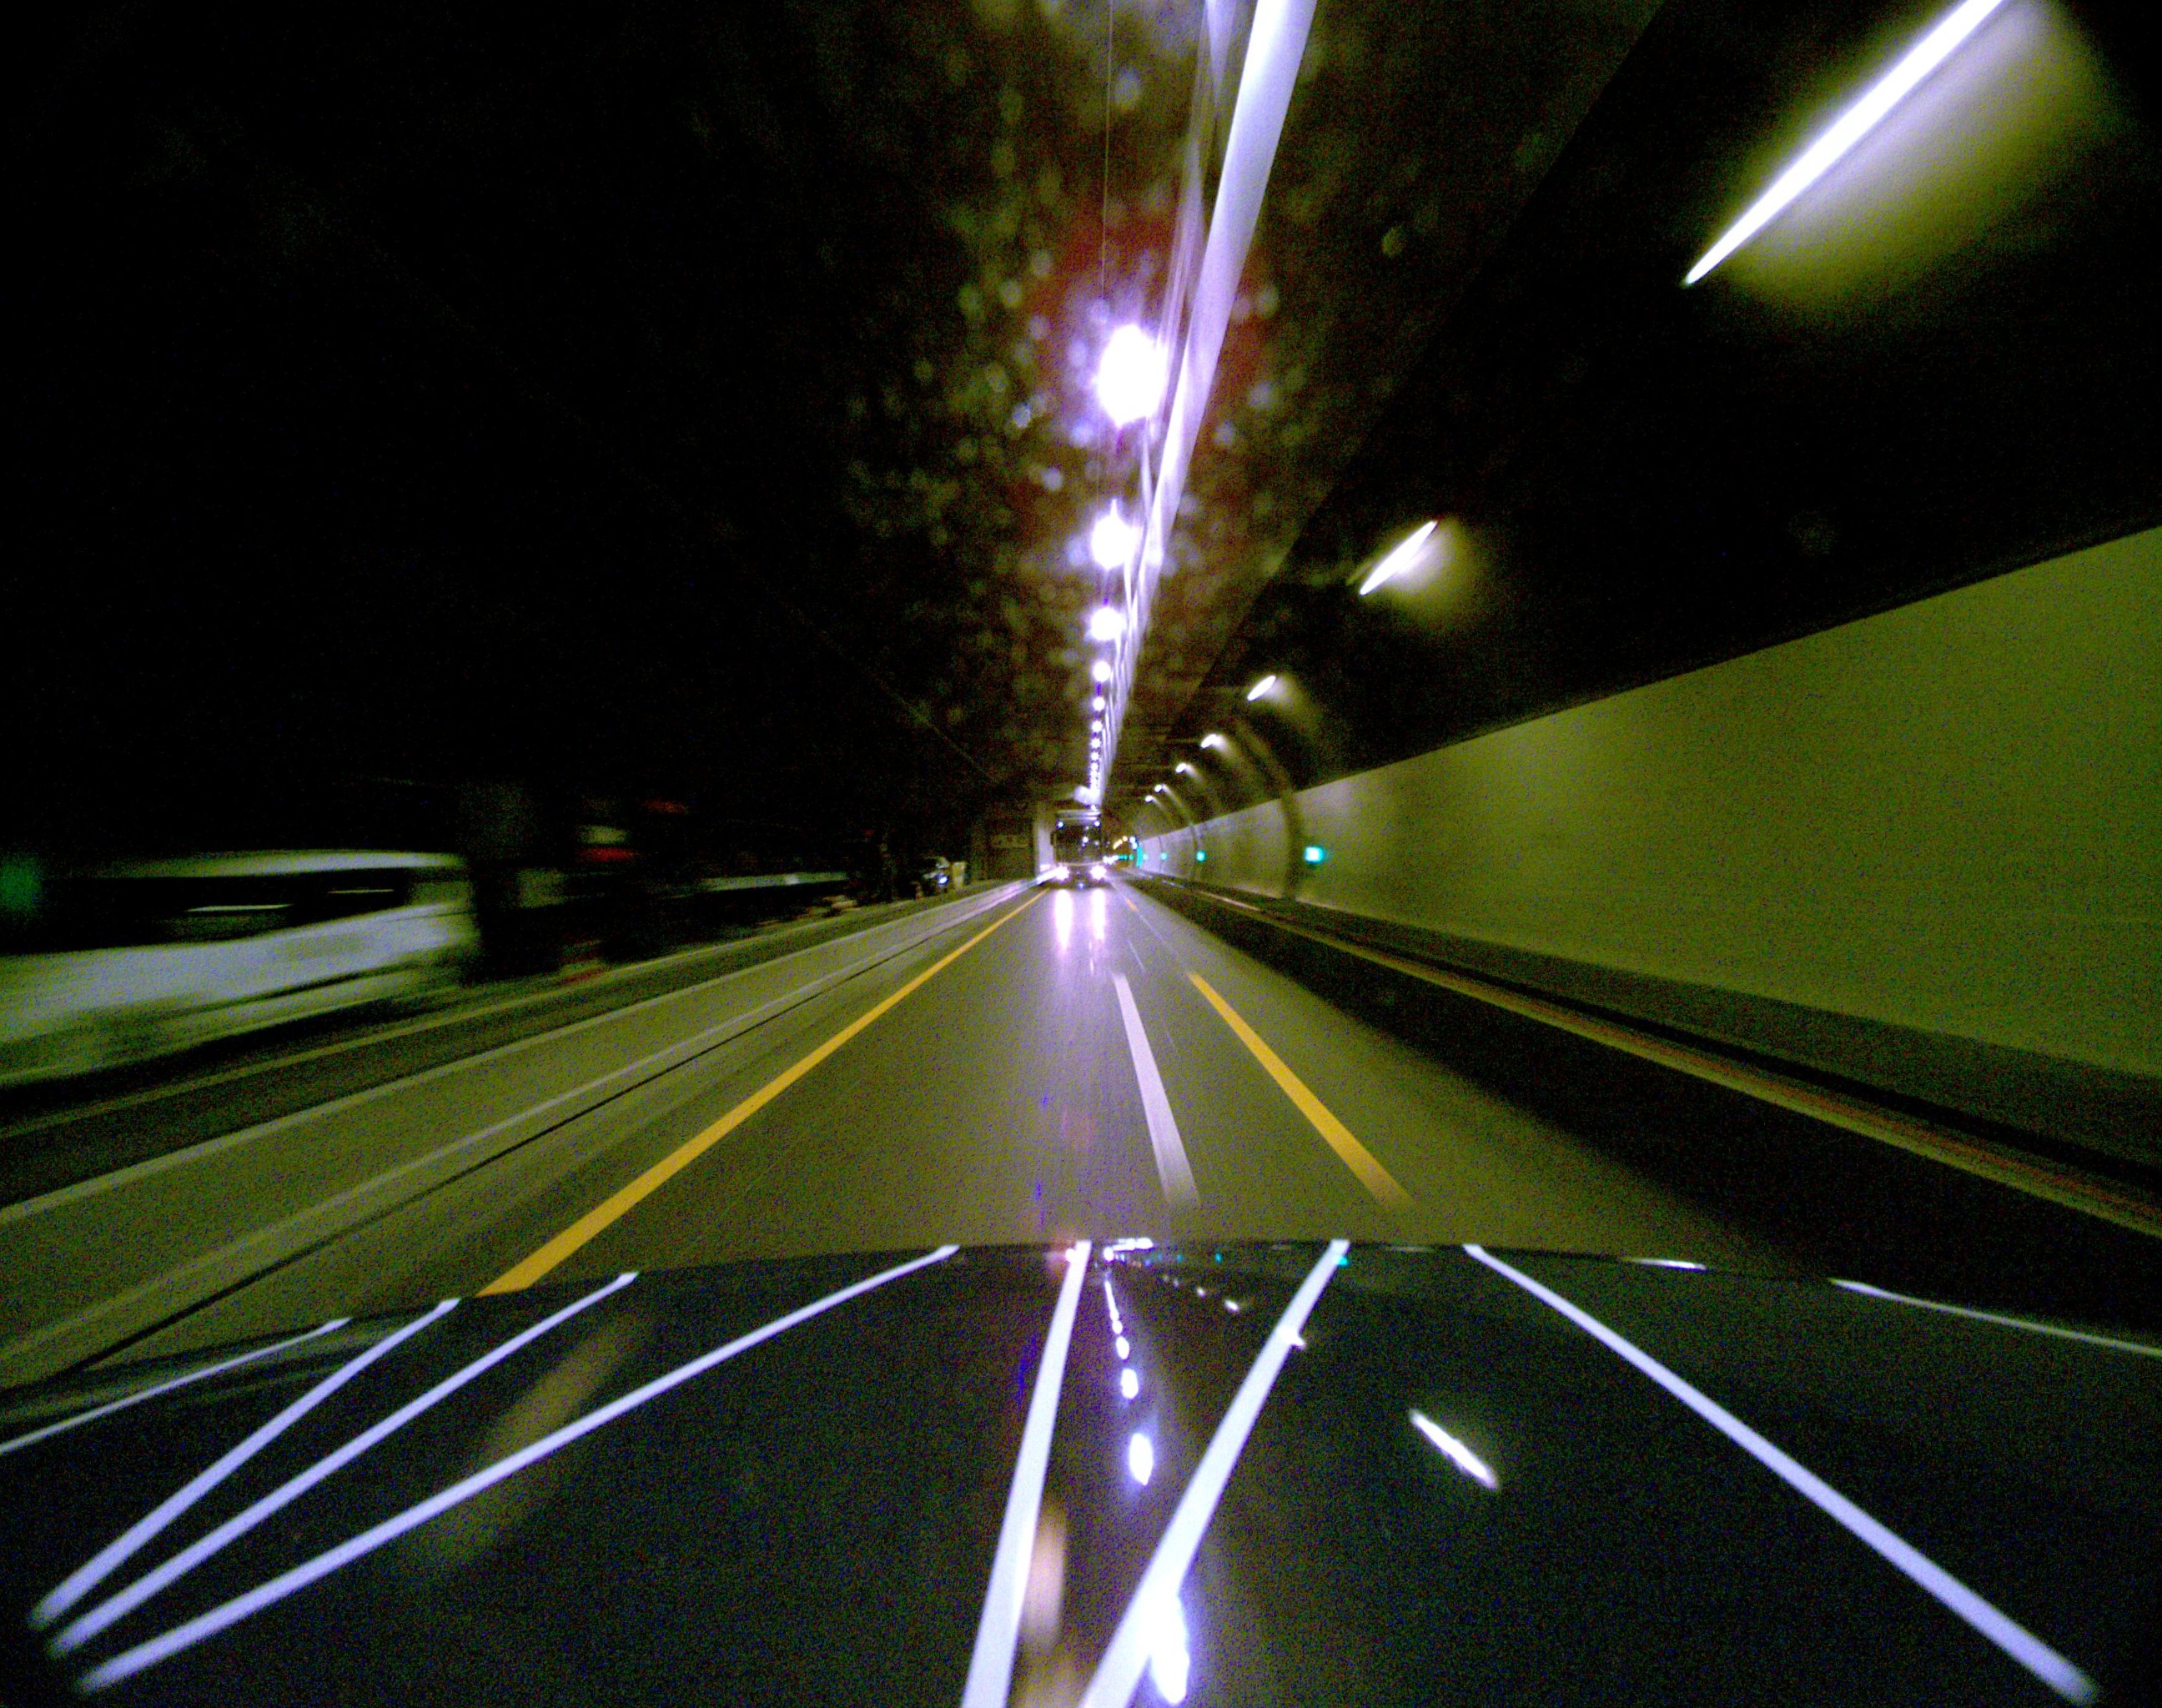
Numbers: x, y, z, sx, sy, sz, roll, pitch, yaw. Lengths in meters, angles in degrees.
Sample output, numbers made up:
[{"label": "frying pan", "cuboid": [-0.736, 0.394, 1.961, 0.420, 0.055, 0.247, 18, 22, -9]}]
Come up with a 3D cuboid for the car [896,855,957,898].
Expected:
[{"label": "car", "cuboid": [-7.364, 1.012, 36.744, 1.832, 1.847, 5.441, -2, 0, -1]}]

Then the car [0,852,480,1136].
[{"label": "car", "cuboid": [-8.012, 0.925, 6.817, 1.756, 1.834, 4.644, -1, 0, -4]}]

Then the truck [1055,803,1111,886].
[{"label": "truck", "cuboid": [0.191, -0.494, 42.646, 2.769, 4.198, 7.977, -1, 0, 1]}]
